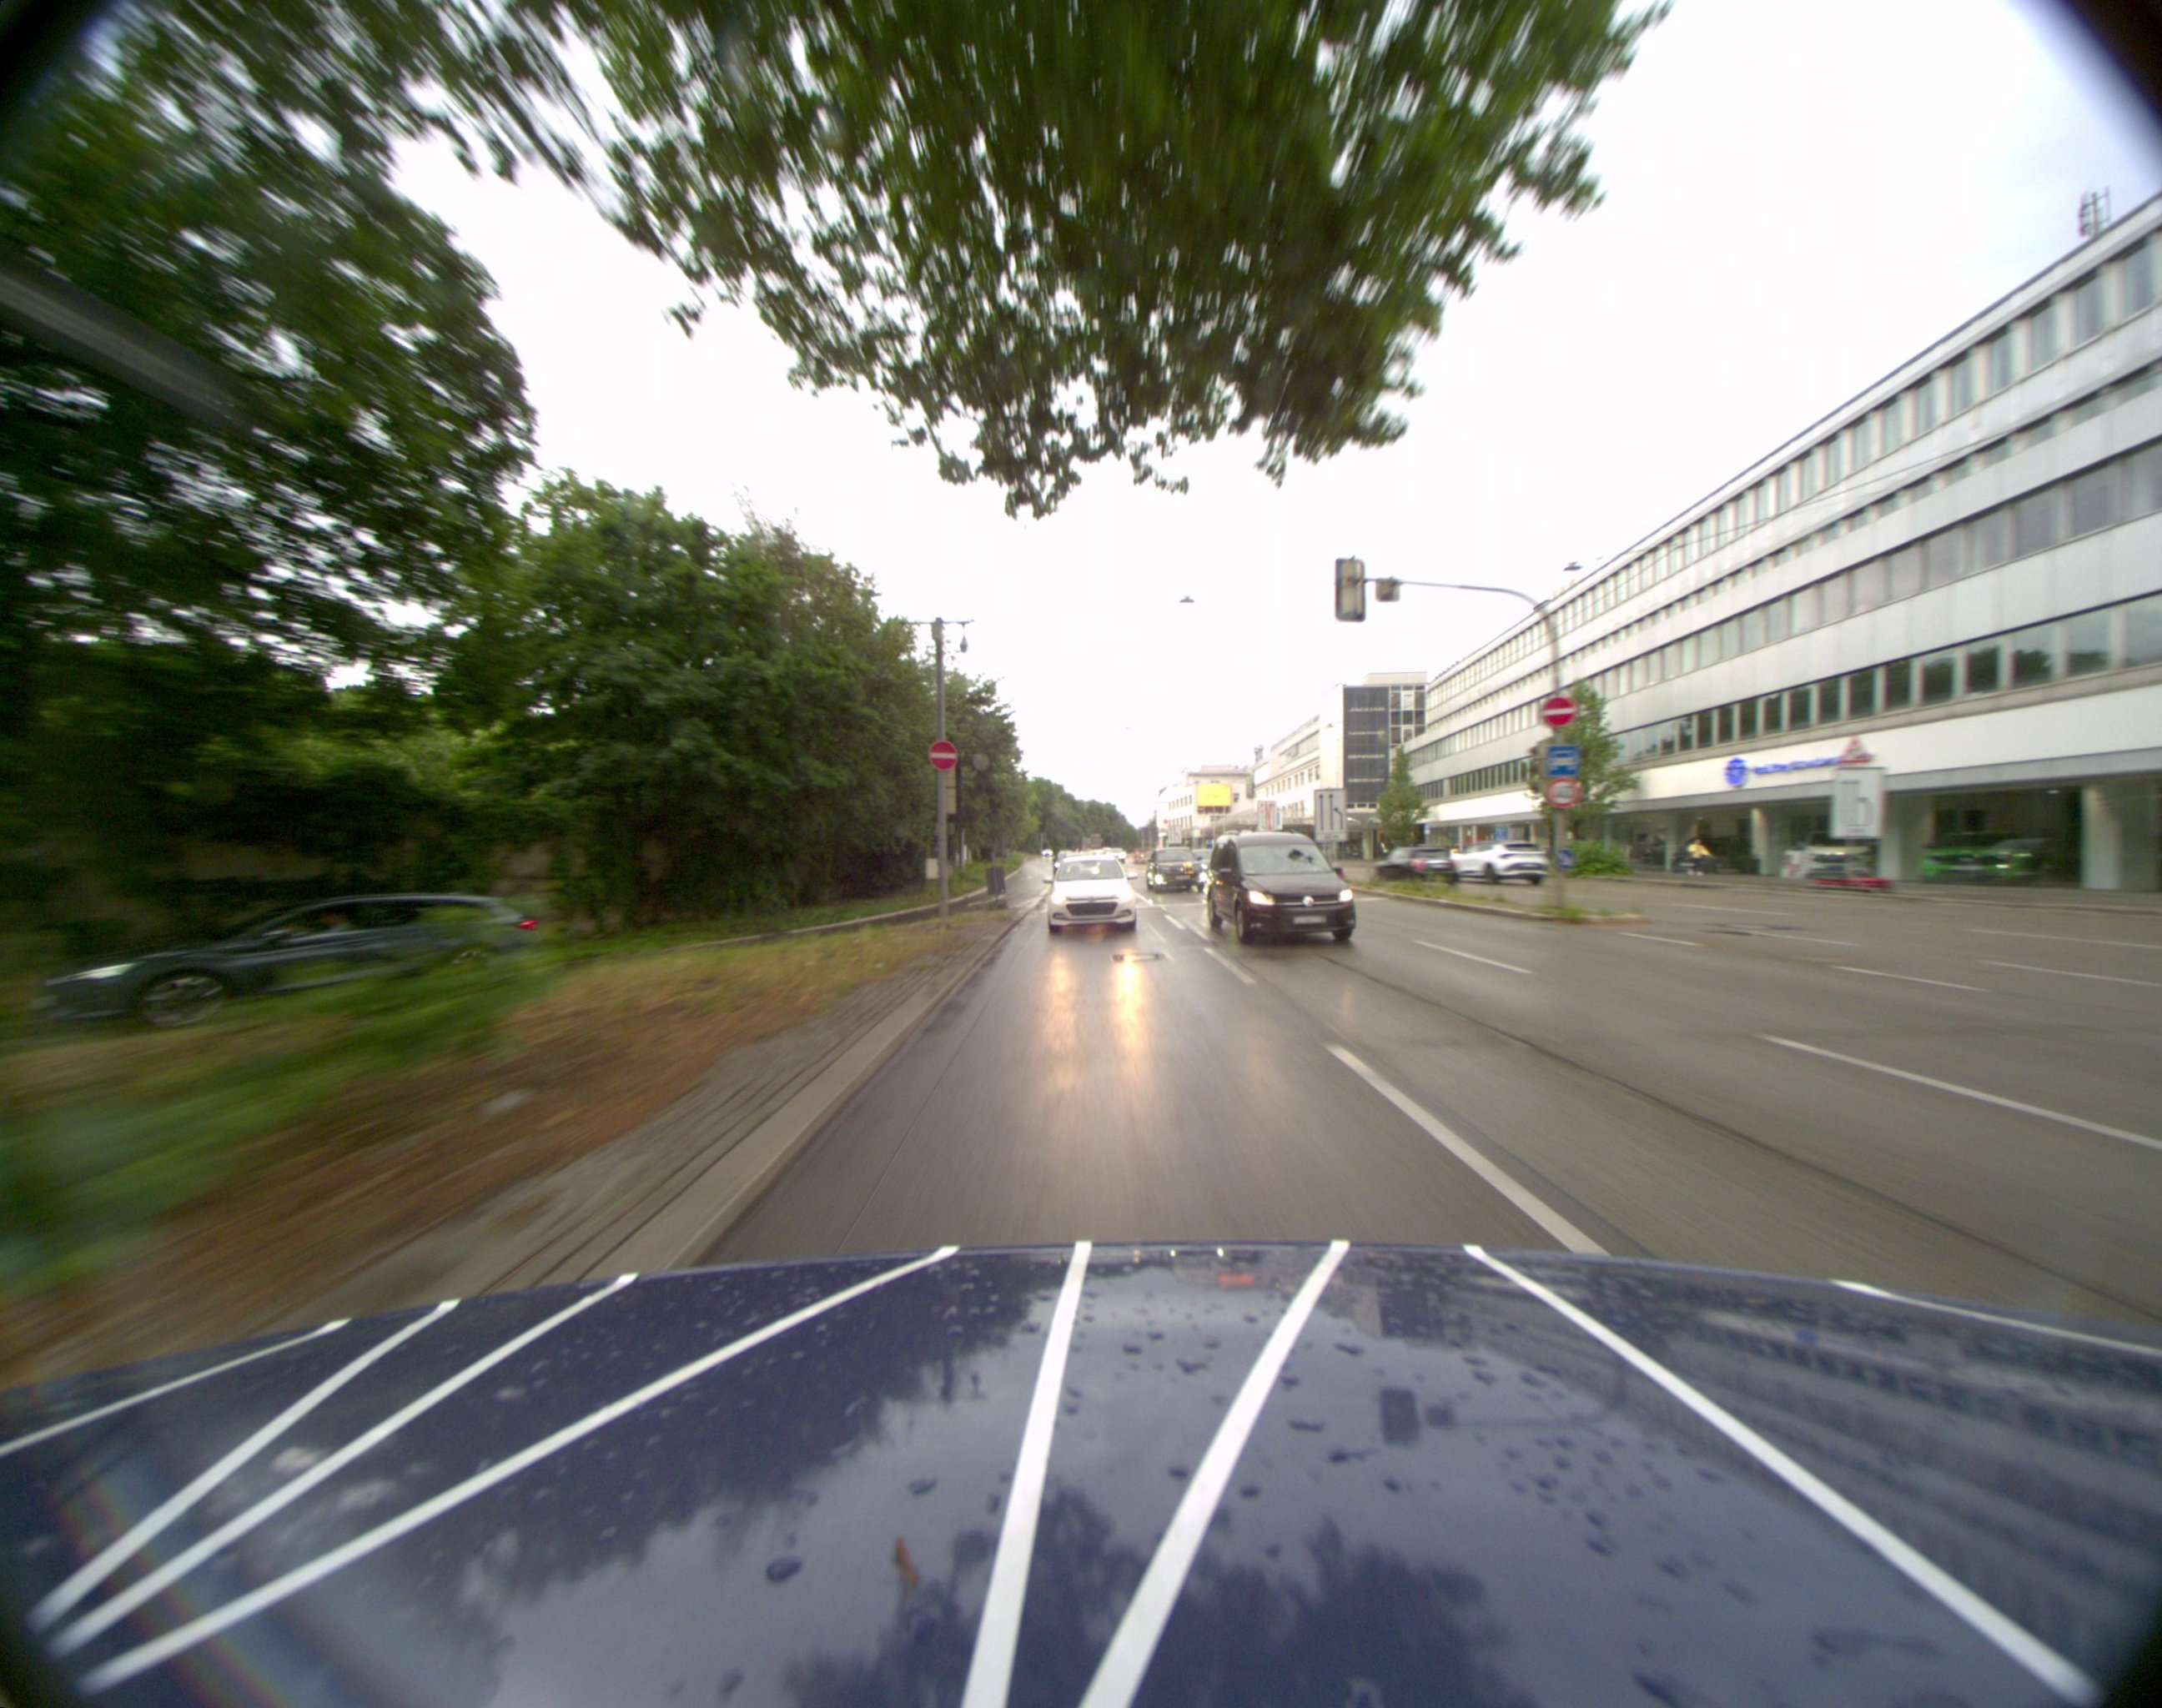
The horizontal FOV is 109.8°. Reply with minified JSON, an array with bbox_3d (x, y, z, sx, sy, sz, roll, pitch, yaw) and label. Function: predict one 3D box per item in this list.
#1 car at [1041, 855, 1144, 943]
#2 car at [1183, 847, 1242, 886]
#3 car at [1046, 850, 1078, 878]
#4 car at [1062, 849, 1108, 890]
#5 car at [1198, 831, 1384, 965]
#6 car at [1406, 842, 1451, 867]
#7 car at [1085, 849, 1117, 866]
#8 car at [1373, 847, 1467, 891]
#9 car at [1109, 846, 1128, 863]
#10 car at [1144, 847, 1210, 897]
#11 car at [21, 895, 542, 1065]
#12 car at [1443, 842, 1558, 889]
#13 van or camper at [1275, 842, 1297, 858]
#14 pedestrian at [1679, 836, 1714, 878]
[{"bbox_3d":[0.212,0.834,16.156,1.814,1.444,4.332,-4,1,0],"label":"car"},{"bbox_3d":[6.043,0.546,35.376,1.814,1.590,4.332,-4,1,-1],"label":"car"},{"bbox_3d":[-1.182,0.592,48.980,1.814,1.590,4.332,-4,1,0],"label":"car"},{"bbox_3d":[0.172,0.656,34.226,1.814,1.590,4.332,-4,1,0],"label":"car"},{"bbox_3d":[3.357,0.613,13.140,1.905,1.804,4.430,-4,1,0],"label":"car"},{"bbox_3d":[27.692,-0.024,60.691,1.922,1.805,4.166,-4,1,4],"label":"car"},{"bbox_3d":[1.903,0.316,71.447,1.769,1.407,4.338,-3,1,18],"label":"car"},{"bbox_3d":[12.041,0.479,27.251,1.687,1.428,3.862,-1,1,1],"label":"car"},{"bbox_3d":[3.955,0.003,80.185,1.771,1.628,4.333,-4,1,1],"label":"car"},{"bbox_3d":[3.458,0.583,28.118,1.814,1.590,4.332,-4,1,0],"label":"car"},{"bbox_3d":[-10.146,1.456,10.135,1.750,1.395,4.421,-5,0,29],"label":"car"},{"bbox_3d":[15.696,0.391,28.751,1.894,1.601,4.456,-1,1,0],"label":"car"},{"bbox_3d":[26.347,-0.568,97.683,1.928,1.918,4.255,-4,1,5],"label":"van or camper"},{"bbox_3d":[26.538,0.132,32.764,0.761,1.765,0.864,-3,1,6],"label":"pedestrian"}]
